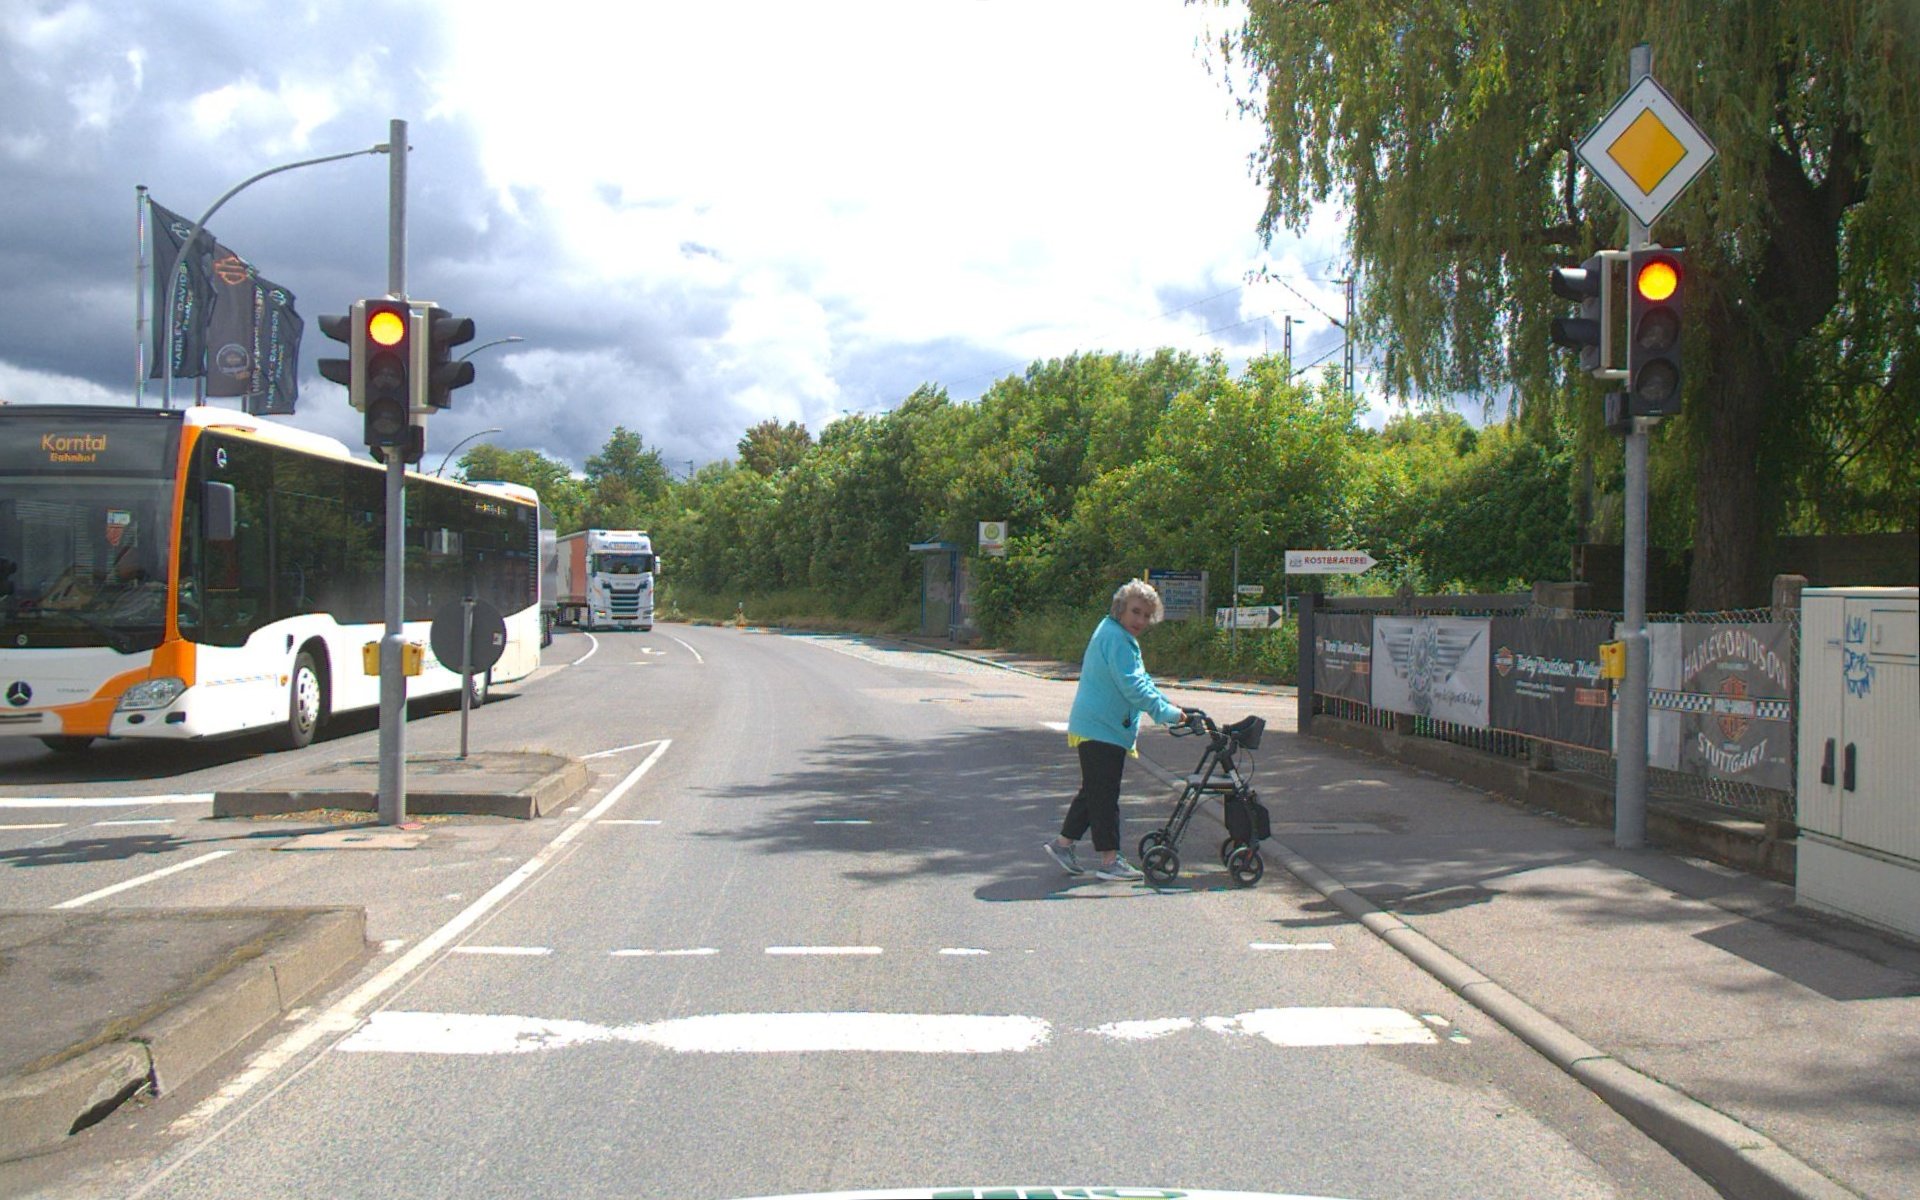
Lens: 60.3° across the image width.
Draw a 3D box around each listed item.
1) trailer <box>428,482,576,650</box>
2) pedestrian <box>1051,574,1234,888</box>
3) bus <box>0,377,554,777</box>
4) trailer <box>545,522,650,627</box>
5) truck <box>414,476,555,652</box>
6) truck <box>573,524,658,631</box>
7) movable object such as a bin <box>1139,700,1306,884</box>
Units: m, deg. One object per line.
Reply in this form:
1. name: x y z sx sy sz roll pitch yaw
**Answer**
1. trailer: -13.233 -0.830 49.032 2.748 4.124 15.517 1 0 -10
2. pedestrian: 0.939 0.661 8.673 0.822 1.570 0.733 1 -1 -4
3. bus: -7.389 -0.154 18.903 2.663 3.084 12.263 0 0 -1
4. trailer: -16.534 -1.020 74.467 2.730 4.217 15.263 1 0 -19
5. truck: -12.040 -0.838 42.367 2.748 4.124 6.484 1 0 -10
6. truck: -14.191 -0.895 67.953 2.730 4.191 4.958 1 0 -20
7. movable object such as a bin: 1.367 0.993 8.703 0.731 0.887 0.670 1 0 -4
